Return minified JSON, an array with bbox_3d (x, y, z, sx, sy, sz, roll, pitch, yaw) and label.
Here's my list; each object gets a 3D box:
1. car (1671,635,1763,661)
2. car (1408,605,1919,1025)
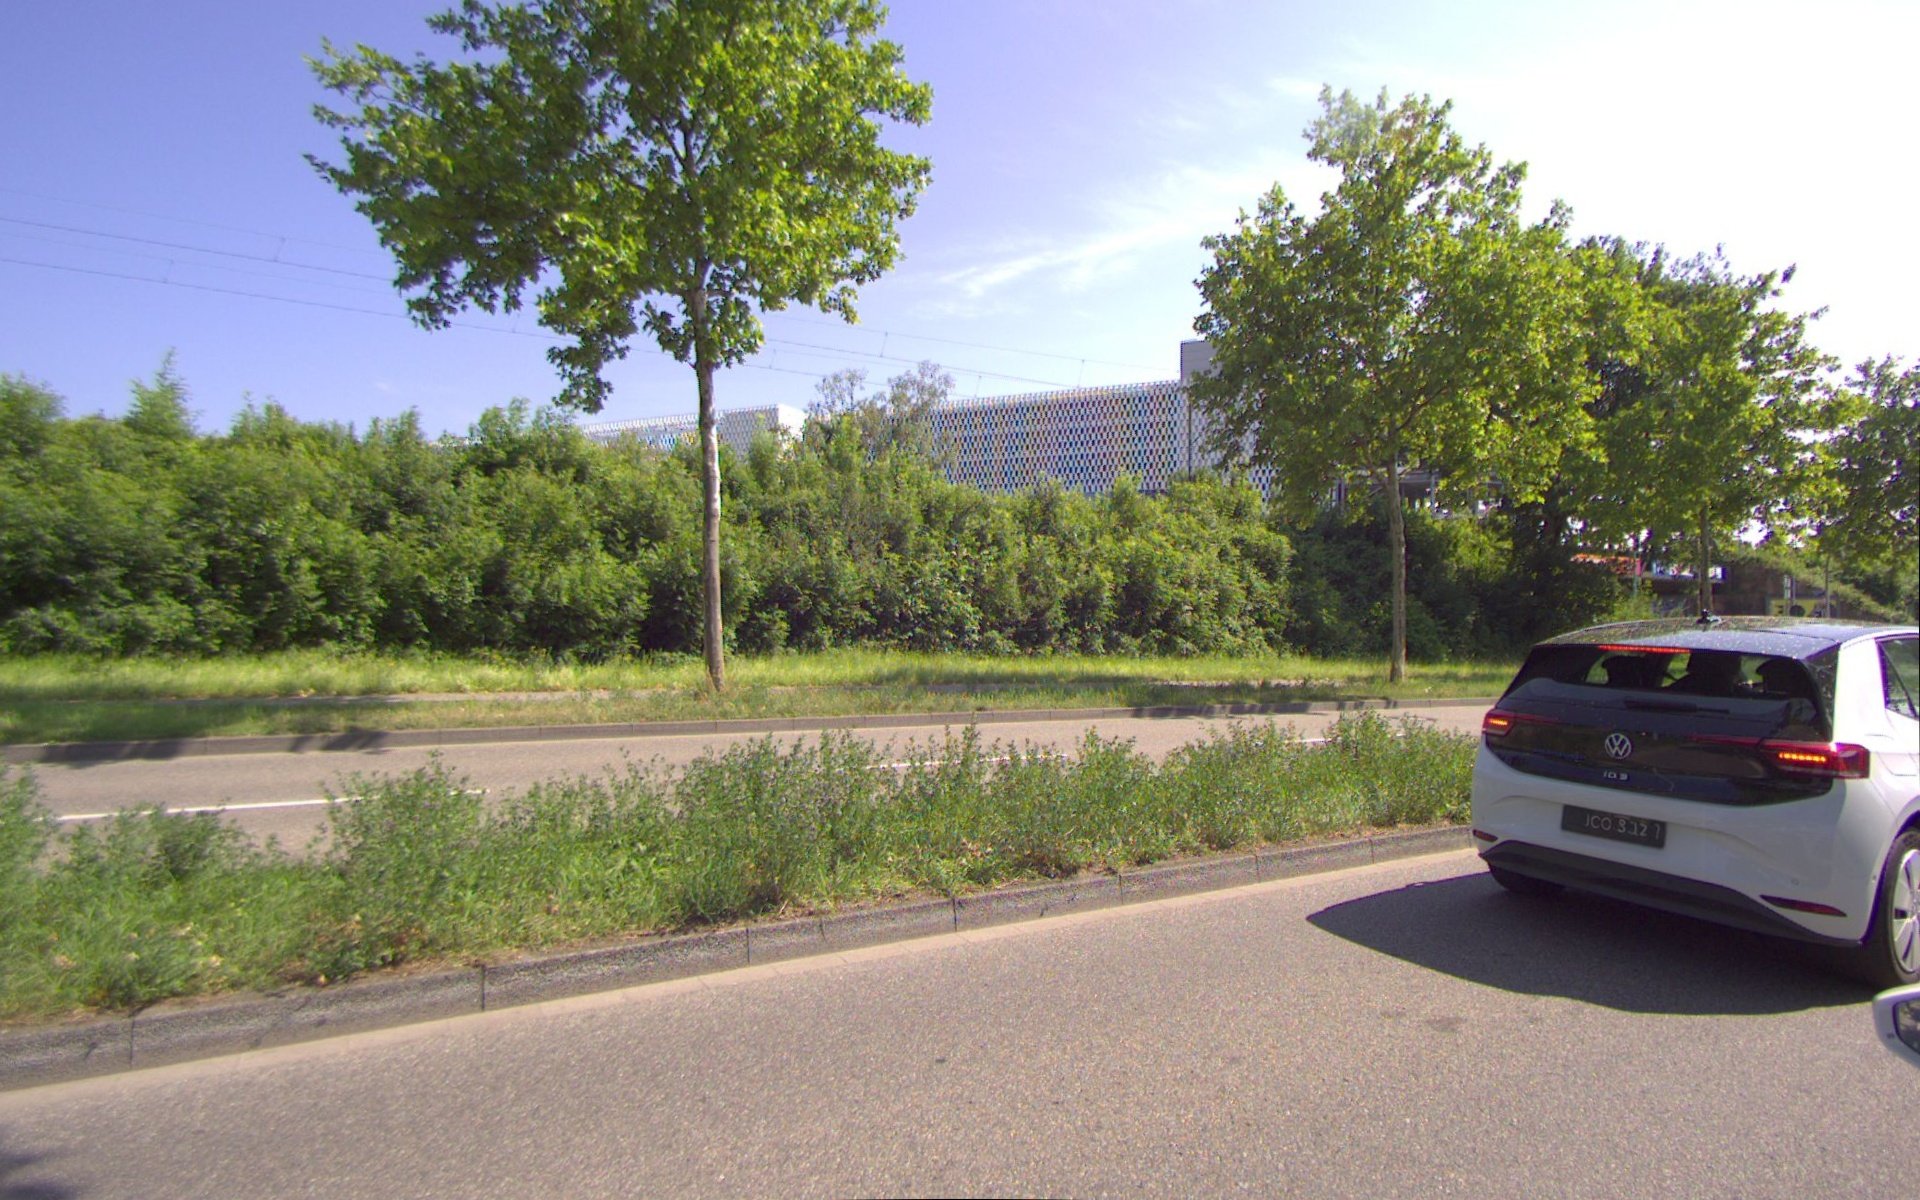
[{"bbox_3d":[45.754,2.896,60.797,4.250,1.445,1.485,0,-1,26],"label":"car"},{"bbox_3d":[4.613,0.854,5.563,4.159,1.541,1.810,2,-1,-30],"label":"car"}]
